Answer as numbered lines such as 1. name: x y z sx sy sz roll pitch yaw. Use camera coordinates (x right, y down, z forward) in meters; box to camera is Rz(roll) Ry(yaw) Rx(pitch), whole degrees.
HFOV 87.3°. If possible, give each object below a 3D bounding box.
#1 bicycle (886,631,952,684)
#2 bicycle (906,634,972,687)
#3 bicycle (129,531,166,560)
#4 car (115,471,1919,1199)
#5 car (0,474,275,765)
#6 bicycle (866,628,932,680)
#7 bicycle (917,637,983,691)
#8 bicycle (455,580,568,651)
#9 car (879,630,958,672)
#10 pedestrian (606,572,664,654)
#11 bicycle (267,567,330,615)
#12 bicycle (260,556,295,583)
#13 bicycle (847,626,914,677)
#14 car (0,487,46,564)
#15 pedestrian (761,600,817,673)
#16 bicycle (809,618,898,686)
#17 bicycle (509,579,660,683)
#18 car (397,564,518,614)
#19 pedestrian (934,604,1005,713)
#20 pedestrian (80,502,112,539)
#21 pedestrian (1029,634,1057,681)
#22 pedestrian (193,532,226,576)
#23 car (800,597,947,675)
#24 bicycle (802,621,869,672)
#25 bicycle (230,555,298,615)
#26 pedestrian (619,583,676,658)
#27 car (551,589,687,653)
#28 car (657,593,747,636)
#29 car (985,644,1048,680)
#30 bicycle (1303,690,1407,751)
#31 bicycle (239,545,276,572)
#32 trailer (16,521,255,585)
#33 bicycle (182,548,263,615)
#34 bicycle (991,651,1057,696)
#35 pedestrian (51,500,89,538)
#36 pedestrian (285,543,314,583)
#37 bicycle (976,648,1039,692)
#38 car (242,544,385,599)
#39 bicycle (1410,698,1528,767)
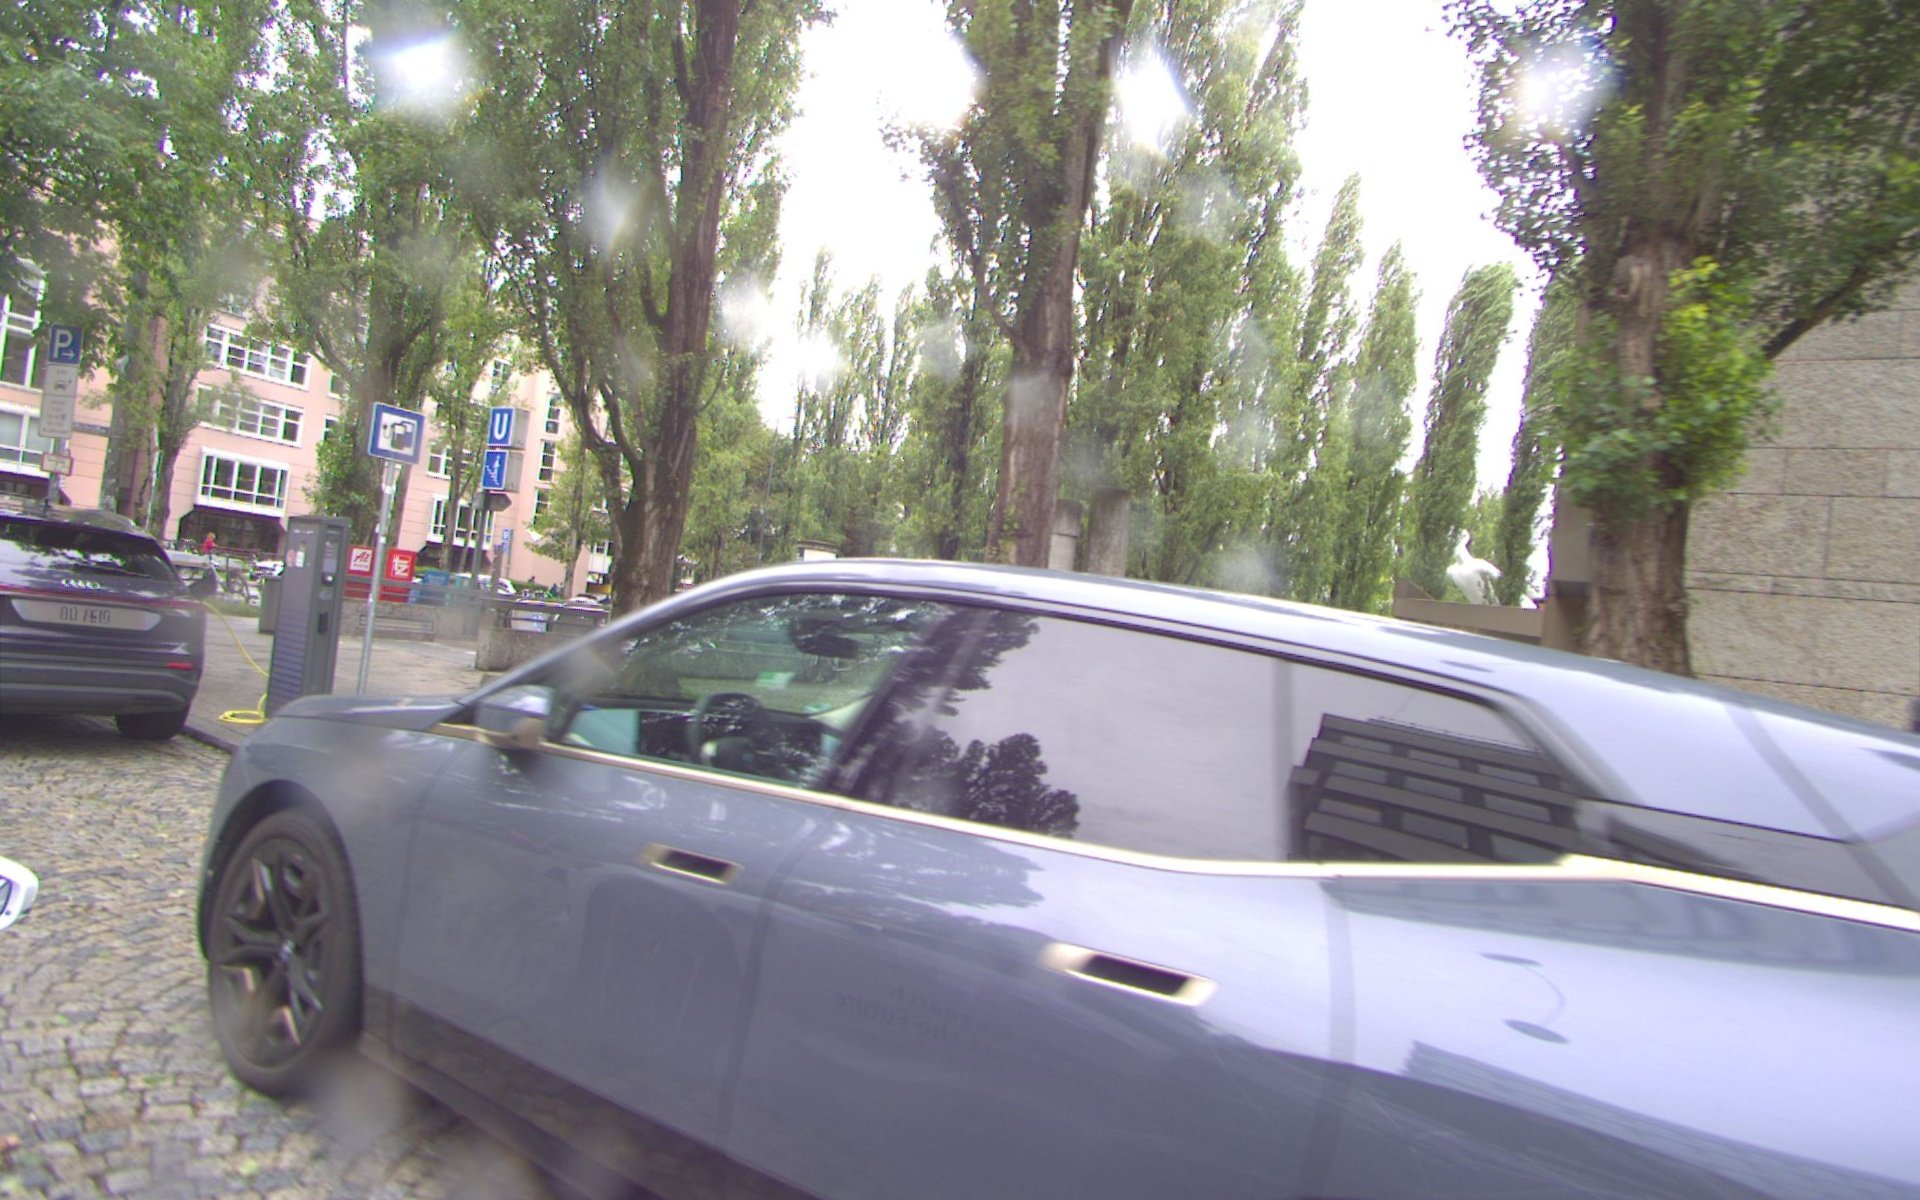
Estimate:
1. bicycle: -1.033 1.486 25.749 0.578 1.173 1.866 6 -2 34
2. bicycle: -0.513 1.549 25.415 0.578 1.173 1.866 6 -2 34
3. bicycle: -37.150 -2.499 45.992 1.957 1.137 0.675 6 -1 34
4. car: 0.005 0.789 2.751 4.595 1.719 2.018 6 -3 31
5. car: -7.241 -0.023 7.405 4.131 1.719 1.925 6 -3 31
6. bicycle: -1.558 1.428 26.102 0.578 1.173 1.866 6 -2 34
7. bicycle: -0.226 1.604 24.911 0.578 1.173 1.866 6 -2 34
8. bicycle: -8.948 0.333 20.122 0.580 1.173 1.860 6 -2 44
9. car: -1.943 2.455 48.077 1.719 1.544 3.947 8 -2 31
10. pedestrian: -7.866 0.318 24.365 0.739 1.824 0.840 6 -2 38
11. bicycle: -13.741 -0.196 20.878 1.806 0.827 0.470 5 -2 38
12. bicycle: -34.051 -1.521 50.179 1.957 1.137 0.675 6 -1 34
13. bicycle: -2.064 1.370 26.383 0.578 1.173 1.866 6 -2 34
14. car: -31.331 -2.622 30.048 1.991 2.222 5.488 7 -2 33
15. pedestrian: -4.805 1.019 28.291 0.905 1.888 1.011 6 -2 38
16. bicycle: -2.095 1.051 20.047 0.578 1.173 1.866 6 -2 34
17. bicycle: -5.411 0.482 14.614 0.710 1.291 1.866 6 -2 34
18. car: -22.283 -0.453 44.749 1.967 1.559 4.320 6 -2 31
19. pedestrian: 0.149 0.922 16.020 0.712 1.625 0.705 8 -1 -26
20. pedestrian: -35.624 -3.272 41.484 0.698 1.385 0.730 6 -1 34
21. pedestrian: 3.461 2.397 41.960 0.689 1.862 0.705 7 -1 36
22. pedestrian: -31.578 -1.929 42.323 0.698 1.733 0.730 7 -1 34
23. car: -2.774 1.272 33.557 1.786 1.917 5.195 7 -3 35
24. bicycle: -3.297 1.264 26.806 0.578 1.173 1.866 6 -2 34
25. bicycle: -13.980 -0.310 20.191 1.806 1.050 0.512 5 -2 38
26. pedestrian: -7.261 0.484 23.408 0.688 1.624 0.831 6 -2 38
27. car: -11.213 0.738 33.312 1.720 1.544 3.901 8 -2 34
28. car: -14.540 0.848 56.954 1.967 1.818 4.755 6 -2 32
29. car: 3.197 3.497 56.384 1.719 1.609 3.947 8 -2 31
30. bicycle: 9.752 2.967 24.882 2.209 1.169 0.647 6 -1 33
31. bicycle: -34.483 -2.038 49.382 2.073 1.137 0.675 6 -1 34
32. trailer: -28.353 -1.579 34.841 2.366 1.213 5.919 6 -2 34
33. bicycle: -14.347 -0.379 19.557 1.899 1.118 0.512 6 -2 33
34. bicycle: 2.048 2.365 32.569 2.000 1.173 0.586 6 -2 35
35. pedestrian: -36.102 -3.287 40.810 0.718 1.385 0.710 7 -1 4
36. pedestrian: -30.668 -1.699 46.686 0.698 1.733 0.730 7 -1 34
37. bicycle: 1.508 2.229 32.176 1.840 1.173 0.586 6 -2 35
38. car: -25.175 -1.079 39.315 1.778 1.559 4.225 5 -3 35
39. bicycle: 11.398 2.955 22.553 2.209 1.169 0.647 6 -1 33
